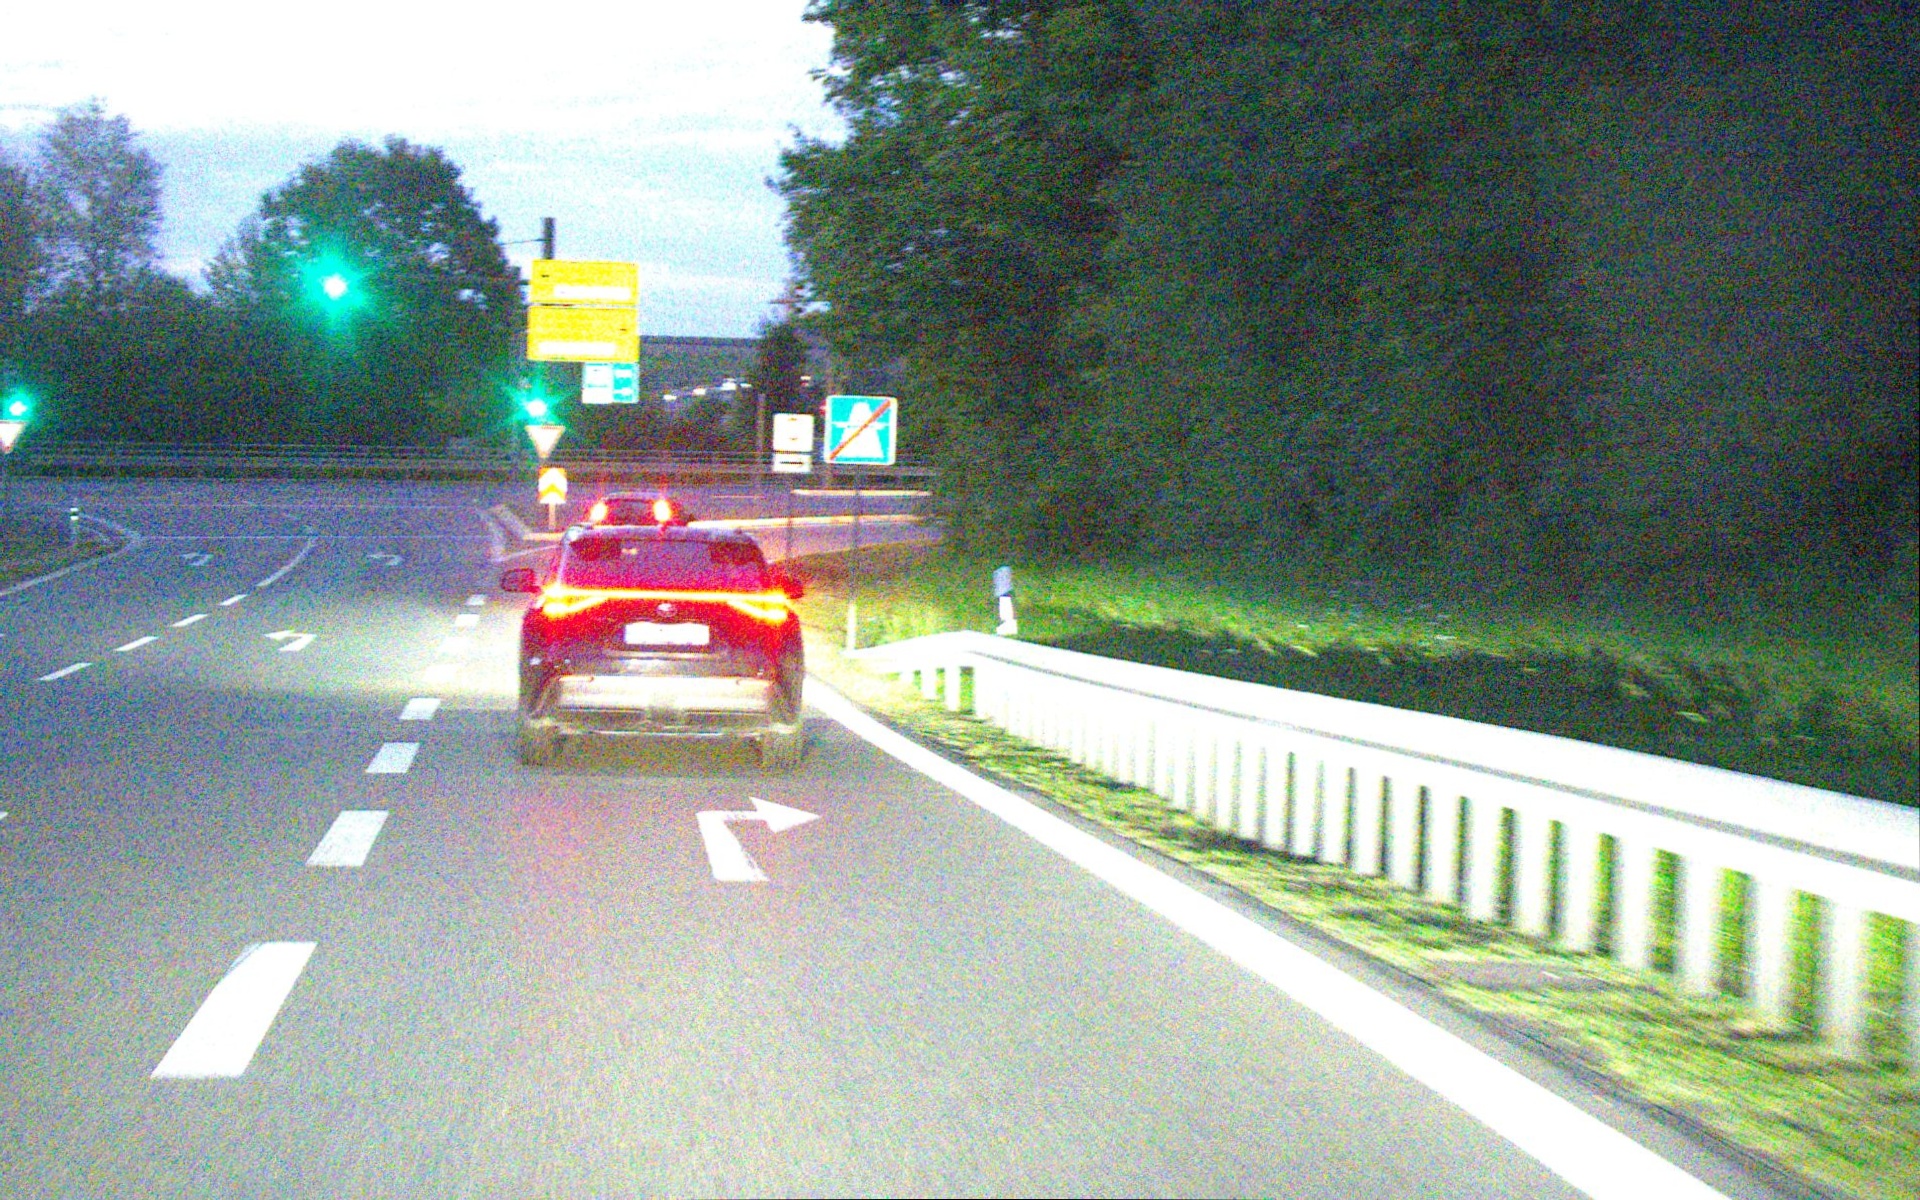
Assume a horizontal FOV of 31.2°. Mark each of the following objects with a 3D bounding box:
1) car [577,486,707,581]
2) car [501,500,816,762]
[{"bbox_3d":[-5.871,-1.205,63.803,1.781,1.648,3.999,1,0,3],"label":"car"},{"bbox_3d":[-2.187,0.165,23.829,1.900,1.614,4.557,1,1,-8],"label":"car"}]
